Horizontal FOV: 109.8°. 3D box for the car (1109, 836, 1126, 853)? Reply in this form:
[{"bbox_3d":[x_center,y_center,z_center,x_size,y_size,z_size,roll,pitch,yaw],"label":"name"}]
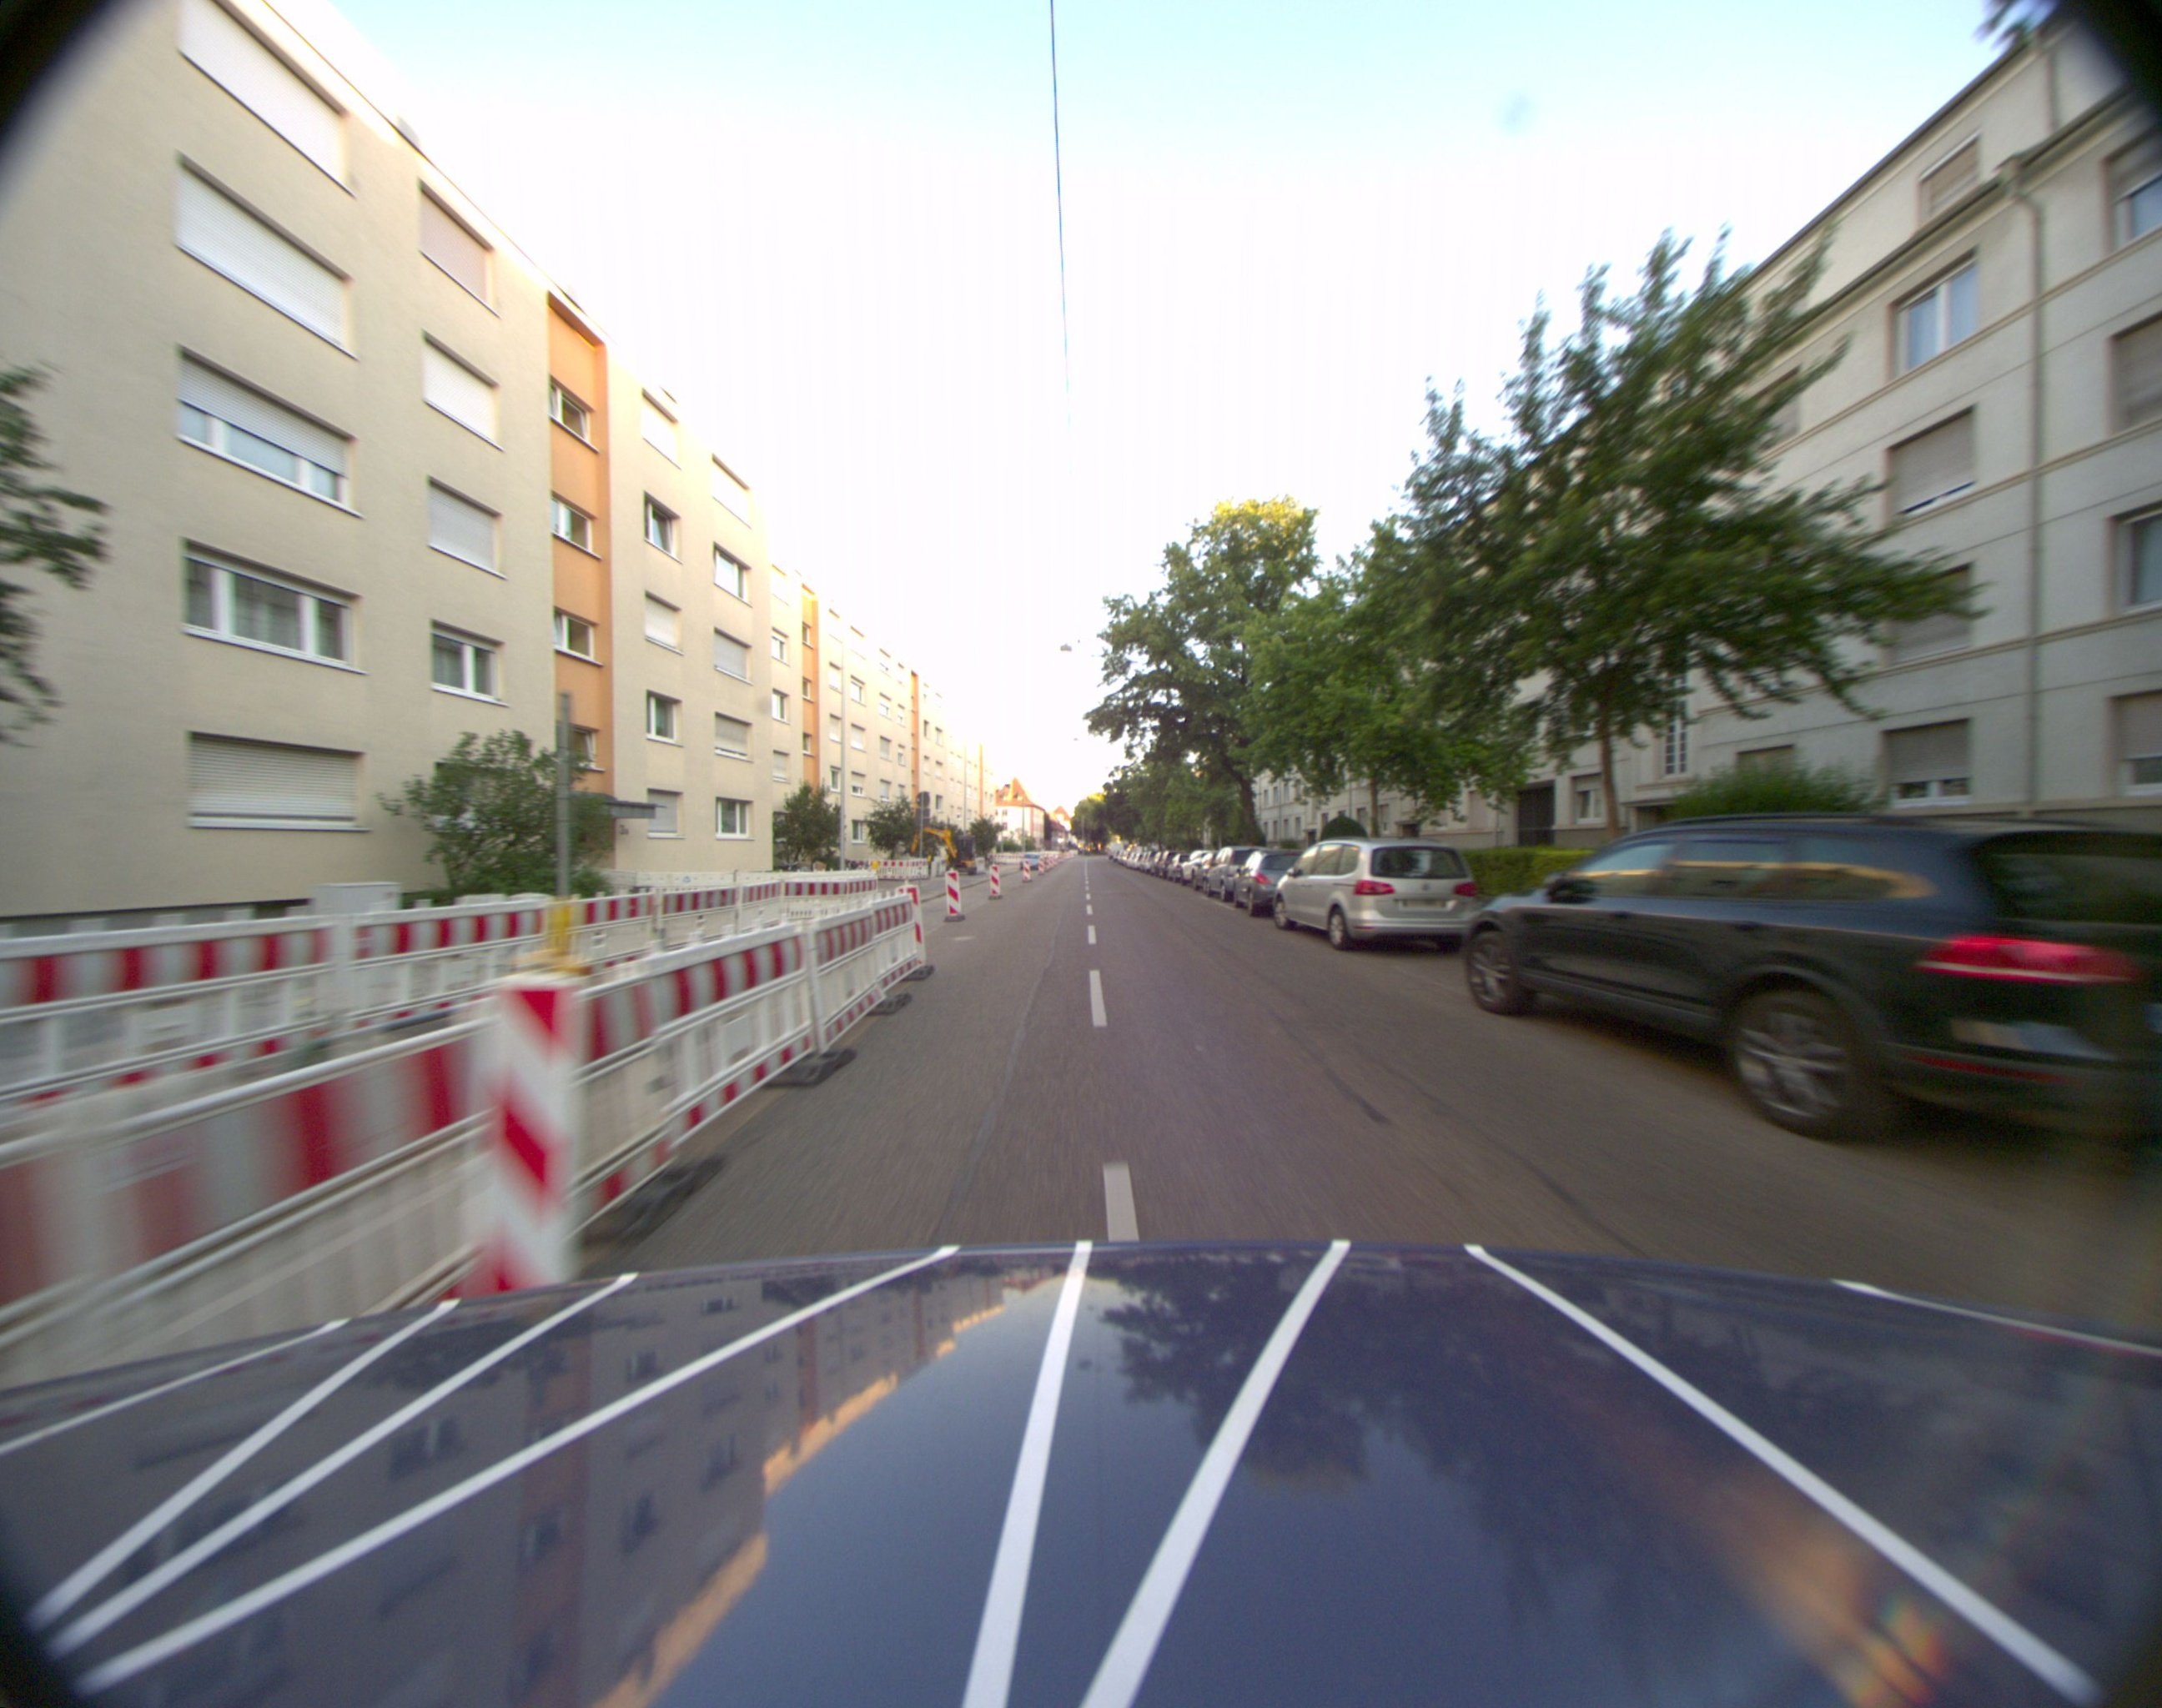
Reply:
[{"bbox_3d":[5.475,-1.450,115.066,2.184,2.447,6.102,2,1,0],"label":"car"}]

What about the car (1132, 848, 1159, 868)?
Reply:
[{"bbox_3d":[5.104,0.287,60.834,1.696,1.451,4.482,2,1,0],"label":"car"}]

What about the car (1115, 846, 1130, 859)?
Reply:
[{"bbox_3d":[5.206,-0.212,95.825,1.756,1.463,4.223,2,1,2],"label":"car"}]

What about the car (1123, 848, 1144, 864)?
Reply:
[{"bbox_3d":[5.212,0.148,75.509,1.679,1.451,3.704,2,1,-2],"label":"car"}]

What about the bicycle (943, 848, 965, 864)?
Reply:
[{"bbox_3d":[-9.799,0.170,58.559,1.597,1.215,0.485,-1,1,-6],"label":"bicycle"}]

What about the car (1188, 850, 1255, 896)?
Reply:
[{"bbox_3d":[5.015,0.620,27.545,1.711,1.444,3.842,2,1,1],"label":"car"}]

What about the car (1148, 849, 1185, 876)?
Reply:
[{"bbox_3d":[5.109,0.462,45.767,1.594,1.458,4.100,2,1,-1],"label":"car"}]

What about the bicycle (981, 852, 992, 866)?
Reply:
[{"bbox_3d":[-7.949,0.432,63.661,0.628,1.165,1.814,-1,1,-16],"label":"bicycle"}]

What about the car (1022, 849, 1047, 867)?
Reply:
[{"bbox_3d":[-4.175,0.349,68.871,1.780,1.482,4.573,3,1,1],"label":"car"}]

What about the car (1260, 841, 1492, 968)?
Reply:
[{"bbox_3d":[4.569,0.651,12.716,1.851,1.681,4.857,1,1,-2],"label":"car"}]

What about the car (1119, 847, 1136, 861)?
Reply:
[{"bbox_3d":[5.201,-0.020,85.895,1.756,1.471,3.944,3,1,2],"label":"car"}]

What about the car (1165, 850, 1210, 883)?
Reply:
[{"bbox_3d":[5.187,0.576,37.348,1.594,1.396,4.180,2,1,0],"label":"car"}]

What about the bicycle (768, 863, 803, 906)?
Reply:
[{"bbox_3d":[-9.010,0.892,23.226,0.399,1.215,1.825,-1,1,-2],"label":"bicycle"}]

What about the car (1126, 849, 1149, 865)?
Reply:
[{"bbox_3d":[5.208,0.295,70.717,1.678,1.324,4.579,2,1,-1],"label":"car"}]

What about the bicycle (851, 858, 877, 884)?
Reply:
[{"bbox_3d":[-9.952,0.764,34.954,0.557,1.165,1.817,-1,1,3],"label":"bicycle"}]

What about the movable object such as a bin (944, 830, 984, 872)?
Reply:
[{"bbox_3d":[-7.633,-0.198,49.967,1.937,2.677,2.892,0,1,5],"label":"movable object such as a bin"}]

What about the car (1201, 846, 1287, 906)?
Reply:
[{"bbox_3d":[4.841,0.592,23.128,1.711,1.591,4.116,2,1,0],"label":"car"}]

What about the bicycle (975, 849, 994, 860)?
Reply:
[{"bbox_3d":[-9.741,0.068,77.052,1.755,0.981,0.558,5,2,9],"label":"bicycle"}]

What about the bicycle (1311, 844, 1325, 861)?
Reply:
[{"bbox_3d":[17.004,-0.099,54.500,0.557,1.223,1.817,-1,1,3],"label":"bicycle"}]

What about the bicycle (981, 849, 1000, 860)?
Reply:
[{"bbox_3d":[-9.356,0.062,78.785,1.815,1.017,0.557,4,2,1],"label":"bicycle"}]

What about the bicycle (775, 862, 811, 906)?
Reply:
[{"bbox_3d":[-8.759,0.886,23.156,0.399,1.215,1.910,-1,1,-2],"label":"bicycle"}]

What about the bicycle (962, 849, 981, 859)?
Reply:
[{"bbox_3d":[-11.228,0.001,78.010,1.821,0.916,0.556,3,3,-40],"label":"bicycle"}]

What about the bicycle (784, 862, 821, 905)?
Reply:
[{"bbox_3d":[-8.483,0.875,23.245,0.453,1.215,1.910,-1,1,-2],"label":"bicycle"}]

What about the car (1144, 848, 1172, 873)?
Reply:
[{"bbox_3d":[5.096,0.404,50.428,1.594,1.520,2.921,3,1,2],"label":"car"}]

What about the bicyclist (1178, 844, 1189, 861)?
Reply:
[{"bbox_3d":[8.254,-0.119,61.205,0.810,1.396,0.973,-1,1,0],"label":"bicyclist"}]

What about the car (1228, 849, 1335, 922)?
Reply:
[{"bbox_3d":[4.653,0.657,18.237,1.736,1.488,4.271,1,1,5],"label":"car"}]

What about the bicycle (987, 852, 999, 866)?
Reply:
[{"bbox_3d":[-7.426,0.405,64.159,0.558,1.165,1.813,-1,1,-19],"label":"bicycle"}]

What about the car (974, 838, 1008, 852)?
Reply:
[{"bbox_3d":[-14.493,-1.424,122.968,5.030,2.117,2.291,-1,1,8],"label":"car"}]

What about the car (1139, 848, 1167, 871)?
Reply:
[{"bbox_3d":[5.123,0.375,54.597,1.594,1.496,3.798,2,1,0],"label":"car"}]

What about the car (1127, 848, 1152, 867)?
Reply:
[{"bbox_3d":[5.047,0.283,65.678,1.697,1.451,4.143,2,1,-2],"label":"car"}]

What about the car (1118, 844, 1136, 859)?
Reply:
[{"bbox_3d":[5.483,-0.288,90.459,1.757,1.622,4.106,2,1,-1],"label":"car"}]

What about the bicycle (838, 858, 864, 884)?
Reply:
[{"bbox_3d":[-10.678,0.782,35.358,0.557,1.165,1.817,-1,1,3],"label":"bicycle"}]

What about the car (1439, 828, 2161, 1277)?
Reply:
[{"bbox_3d":[4.630,0.747,5.279,1.958,1.709,4.770,1,1,0],"label":"car"}]

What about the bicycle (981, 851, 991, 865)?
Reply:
[{"bbox_3d":[-8.442,0.373,67.740,0.557,1.165,1.817,-1,1,3],"label":"bicycle"}]

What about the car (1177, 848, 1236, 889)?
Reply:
[{"bbox_3d":[5.203,0.558,31.938,1.594,1.530,4.205,2,1,-2],"label":"car"}]

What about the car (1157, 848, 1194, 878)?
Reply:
[{"bbox_3d":[5.113,0.471,41.494,1.527,1.520,3.163,2,1,-1],"label":"car"}]
